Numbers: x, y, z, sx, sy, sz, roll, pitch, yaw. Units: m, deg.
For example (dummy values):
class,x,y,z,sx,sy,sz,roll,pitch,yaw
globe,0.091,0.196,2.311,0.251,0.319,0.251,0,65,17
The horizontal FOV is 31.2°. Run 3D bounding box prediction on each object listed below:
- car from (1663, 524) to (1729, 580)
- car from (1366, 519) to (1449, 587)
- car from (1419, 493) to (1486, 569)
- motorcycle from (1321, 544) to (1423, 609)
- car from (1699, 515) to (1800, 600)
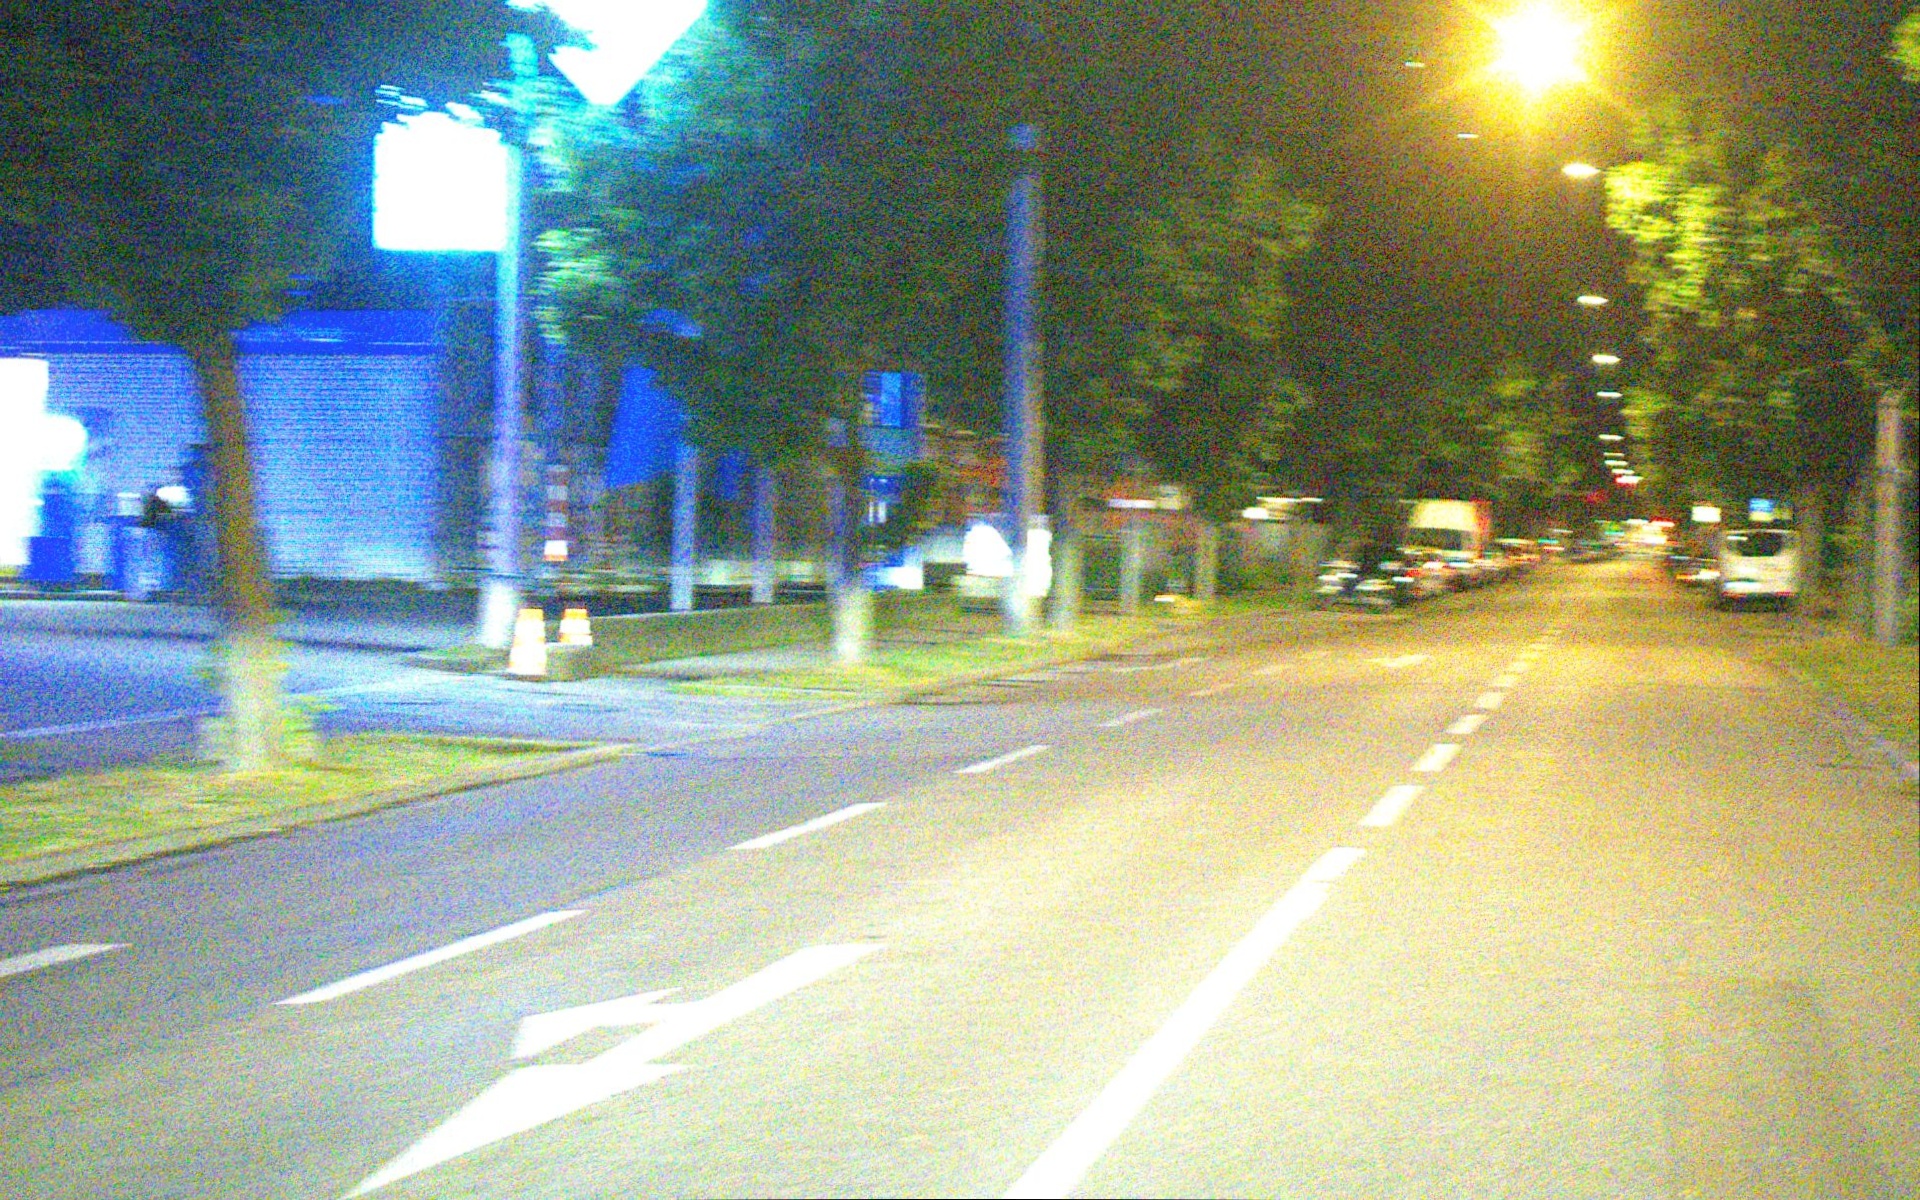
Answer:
class,x,y,z,sx,sy,sz,roll,pitch,yaw
car,26.861,-1.730,125.515,1.994,2.007,3.999,0,0,7
car,12.412,-1.282,95.239,1.994,1.836,3.998,0,0,12
car,15.933,-2.197,111.058,1.994,2.407,4.482,0,0,10
motorcycle,8.936,-0.514,74.558,2.014,1.388,0.877,0,0,-18
car,19.183,-1.023,83.690,1.994,2.007,3.999,0,0,7
